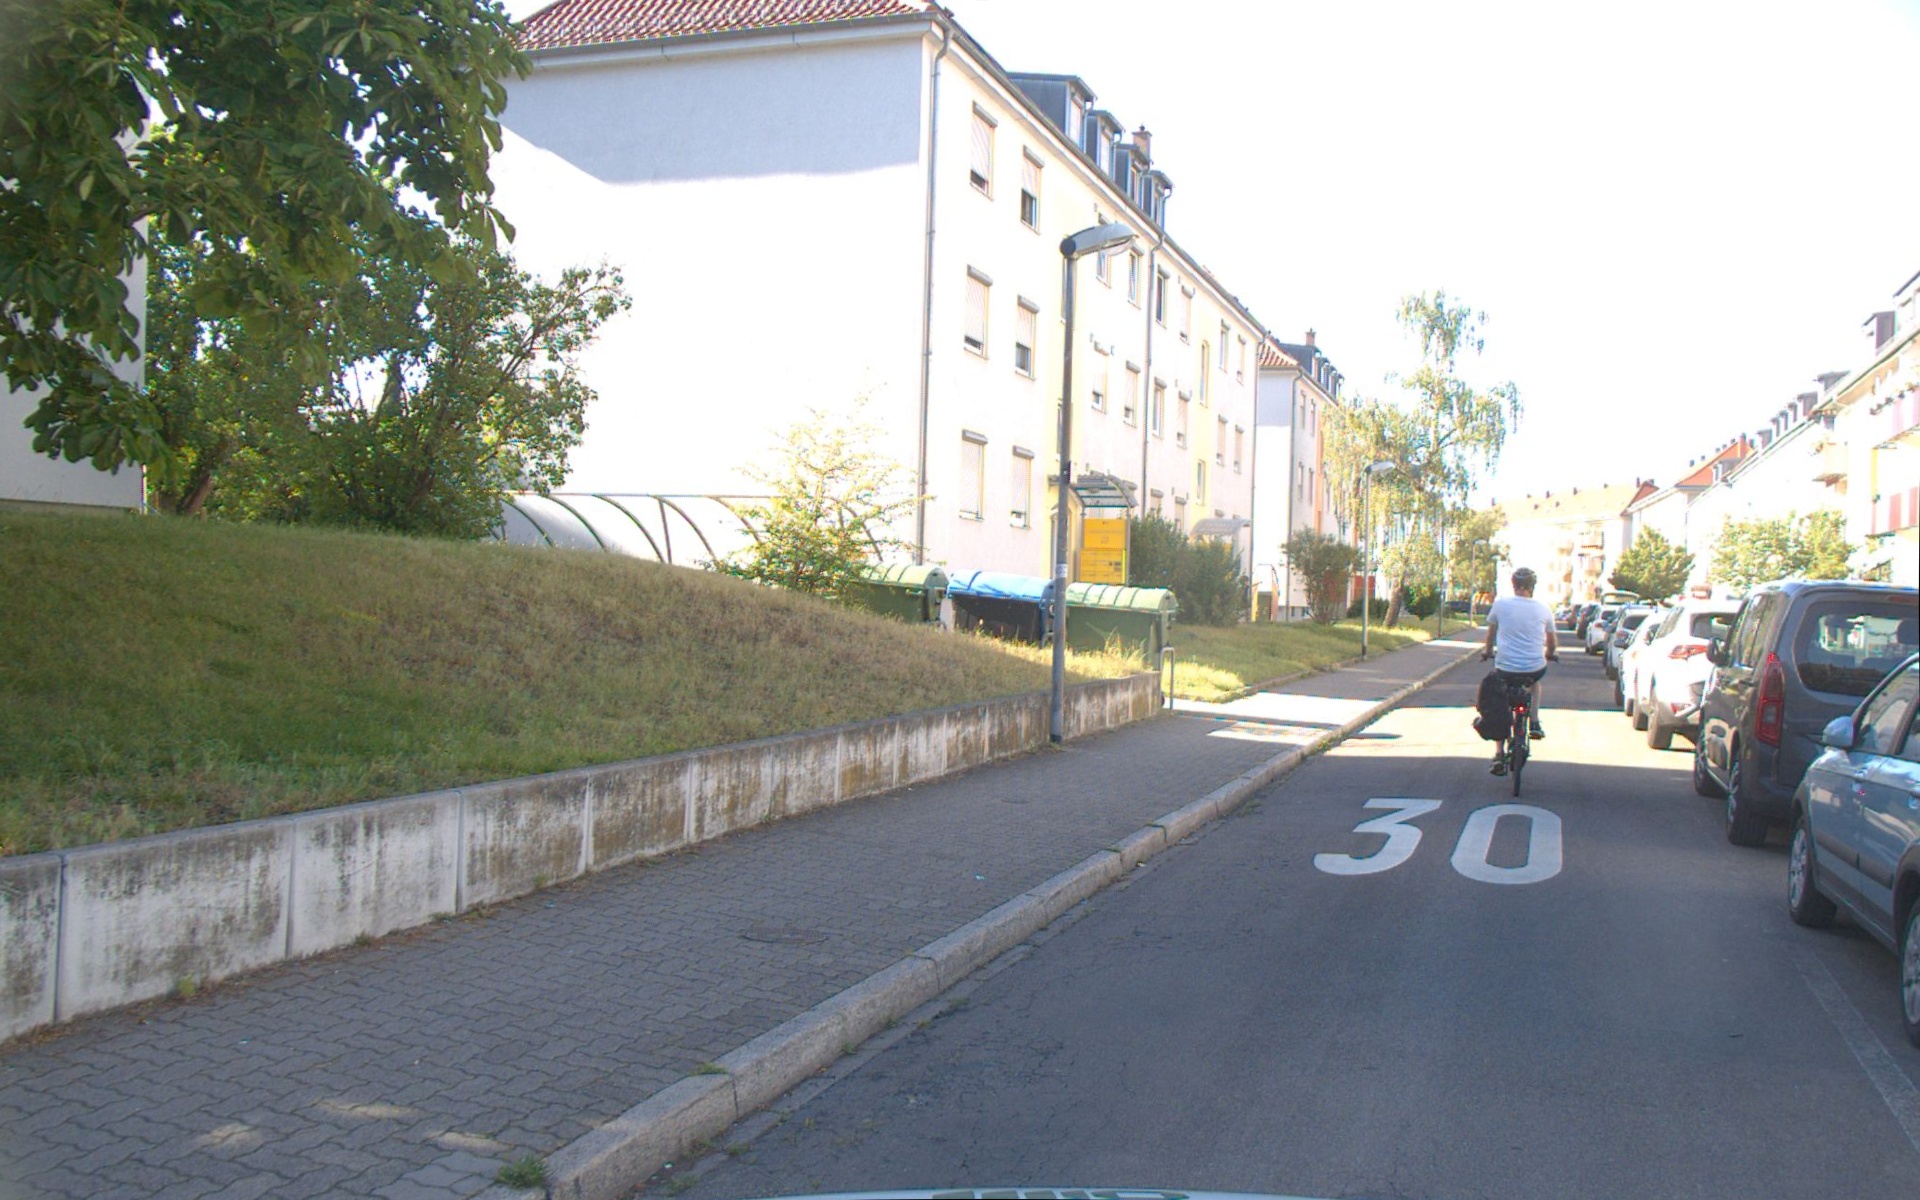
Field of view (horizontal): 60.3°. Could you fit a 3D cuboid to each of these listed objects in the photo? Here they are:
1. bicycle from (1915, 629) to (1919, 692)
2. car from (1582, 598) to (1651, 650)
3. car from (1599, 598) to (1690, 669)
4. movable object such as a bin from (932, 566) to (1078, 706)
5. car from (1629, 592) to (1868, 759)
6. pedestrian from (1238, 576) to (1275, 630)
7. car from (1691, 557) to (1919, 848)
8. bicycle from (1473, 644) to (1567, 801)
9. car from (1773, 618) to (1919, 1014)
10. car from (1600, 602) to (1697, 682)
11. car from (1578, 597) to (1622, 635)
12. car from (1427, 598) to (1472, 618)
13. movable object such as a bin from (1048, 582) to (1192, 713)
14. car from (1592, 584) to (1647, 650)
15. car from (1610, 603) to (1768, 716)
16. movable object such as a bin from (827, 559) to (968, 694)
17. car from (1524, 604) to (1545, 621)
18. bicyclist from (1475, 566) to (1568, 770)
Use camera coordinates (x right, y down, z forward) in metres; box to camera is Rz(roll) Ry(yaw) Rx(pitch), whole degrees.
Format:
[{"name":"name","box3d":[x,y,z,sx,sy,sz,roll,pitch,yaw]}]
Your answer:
[{"name":"bicycle","box3d":[17.054,1.074,28.625,0.547,1.112,1.901,2,0,20]},{"name":"car","box3d":[20.781,0.745,52.479,1.855,1.522,4.093,2,0,20]},{"name":"car","box3d":[16.532,0.781,40.077,1.797,1.585,4.001,2,0,20]},{"name":"movable object such as a bin","box3d":[0.584,0.433,20.798,1.468,1.651,1.264,2,0,20]},{"name":"car","box3d":[8.819,0.765,18.844,1.941,1.619,4.126,2,0,19]},{"name":"pedestrian","box3d":[8.659,0.081,48.264,0.846,1.548,1.068,2,0,20]},{"name":"car","box3d":[6.570,0.648,12.194,1.825,1.760,4.295,2,0,20]},{"name":"bicycle","box3d":[4.637,0.975,13.724,0.647,1.147,1.766,3,0,18]},{"name":"car","box3d":[4.705,0.842,7.022,1.618,1.454,3.902,2,0,17]},{"name":"car","box3d":[14.710,0.857,35.480,1.597,1.516,3.624,4,1,19]},{"name":"car","box3d":[29.700,0.739,76.816,1.768,1.632,4.405,2,0,20]},{"name":"car","box3d":[45.681,0.740,154.447,3.904,1.832,2.001,1,0,19]},{"name":"movable object such as a bin","box3d":[1.988,0.562,20.376,1.461,1.504,1.265,2,0,20]},{"name":"car","box3d":[23.047,0.563,57.863,1.585,2.181,4.001,2,0,20]},{"name":"car","box3d":[10.527,0.799,24.098,1.720,1.457,3.630,2,0,19]},{"name":"movable object such as a bin","box3d":[-0.786,0.330,21.267,1.429,1.641,1.191,2,0,20]},{"name":"car","box3d":[58.039,1.253,167.084,1.720,1.603,3.906,1,0,16]},{"name":"bicyclist","box3d":[4.670,0.545,13.778,0.679,1.624,0.791,1,0,18]}]
